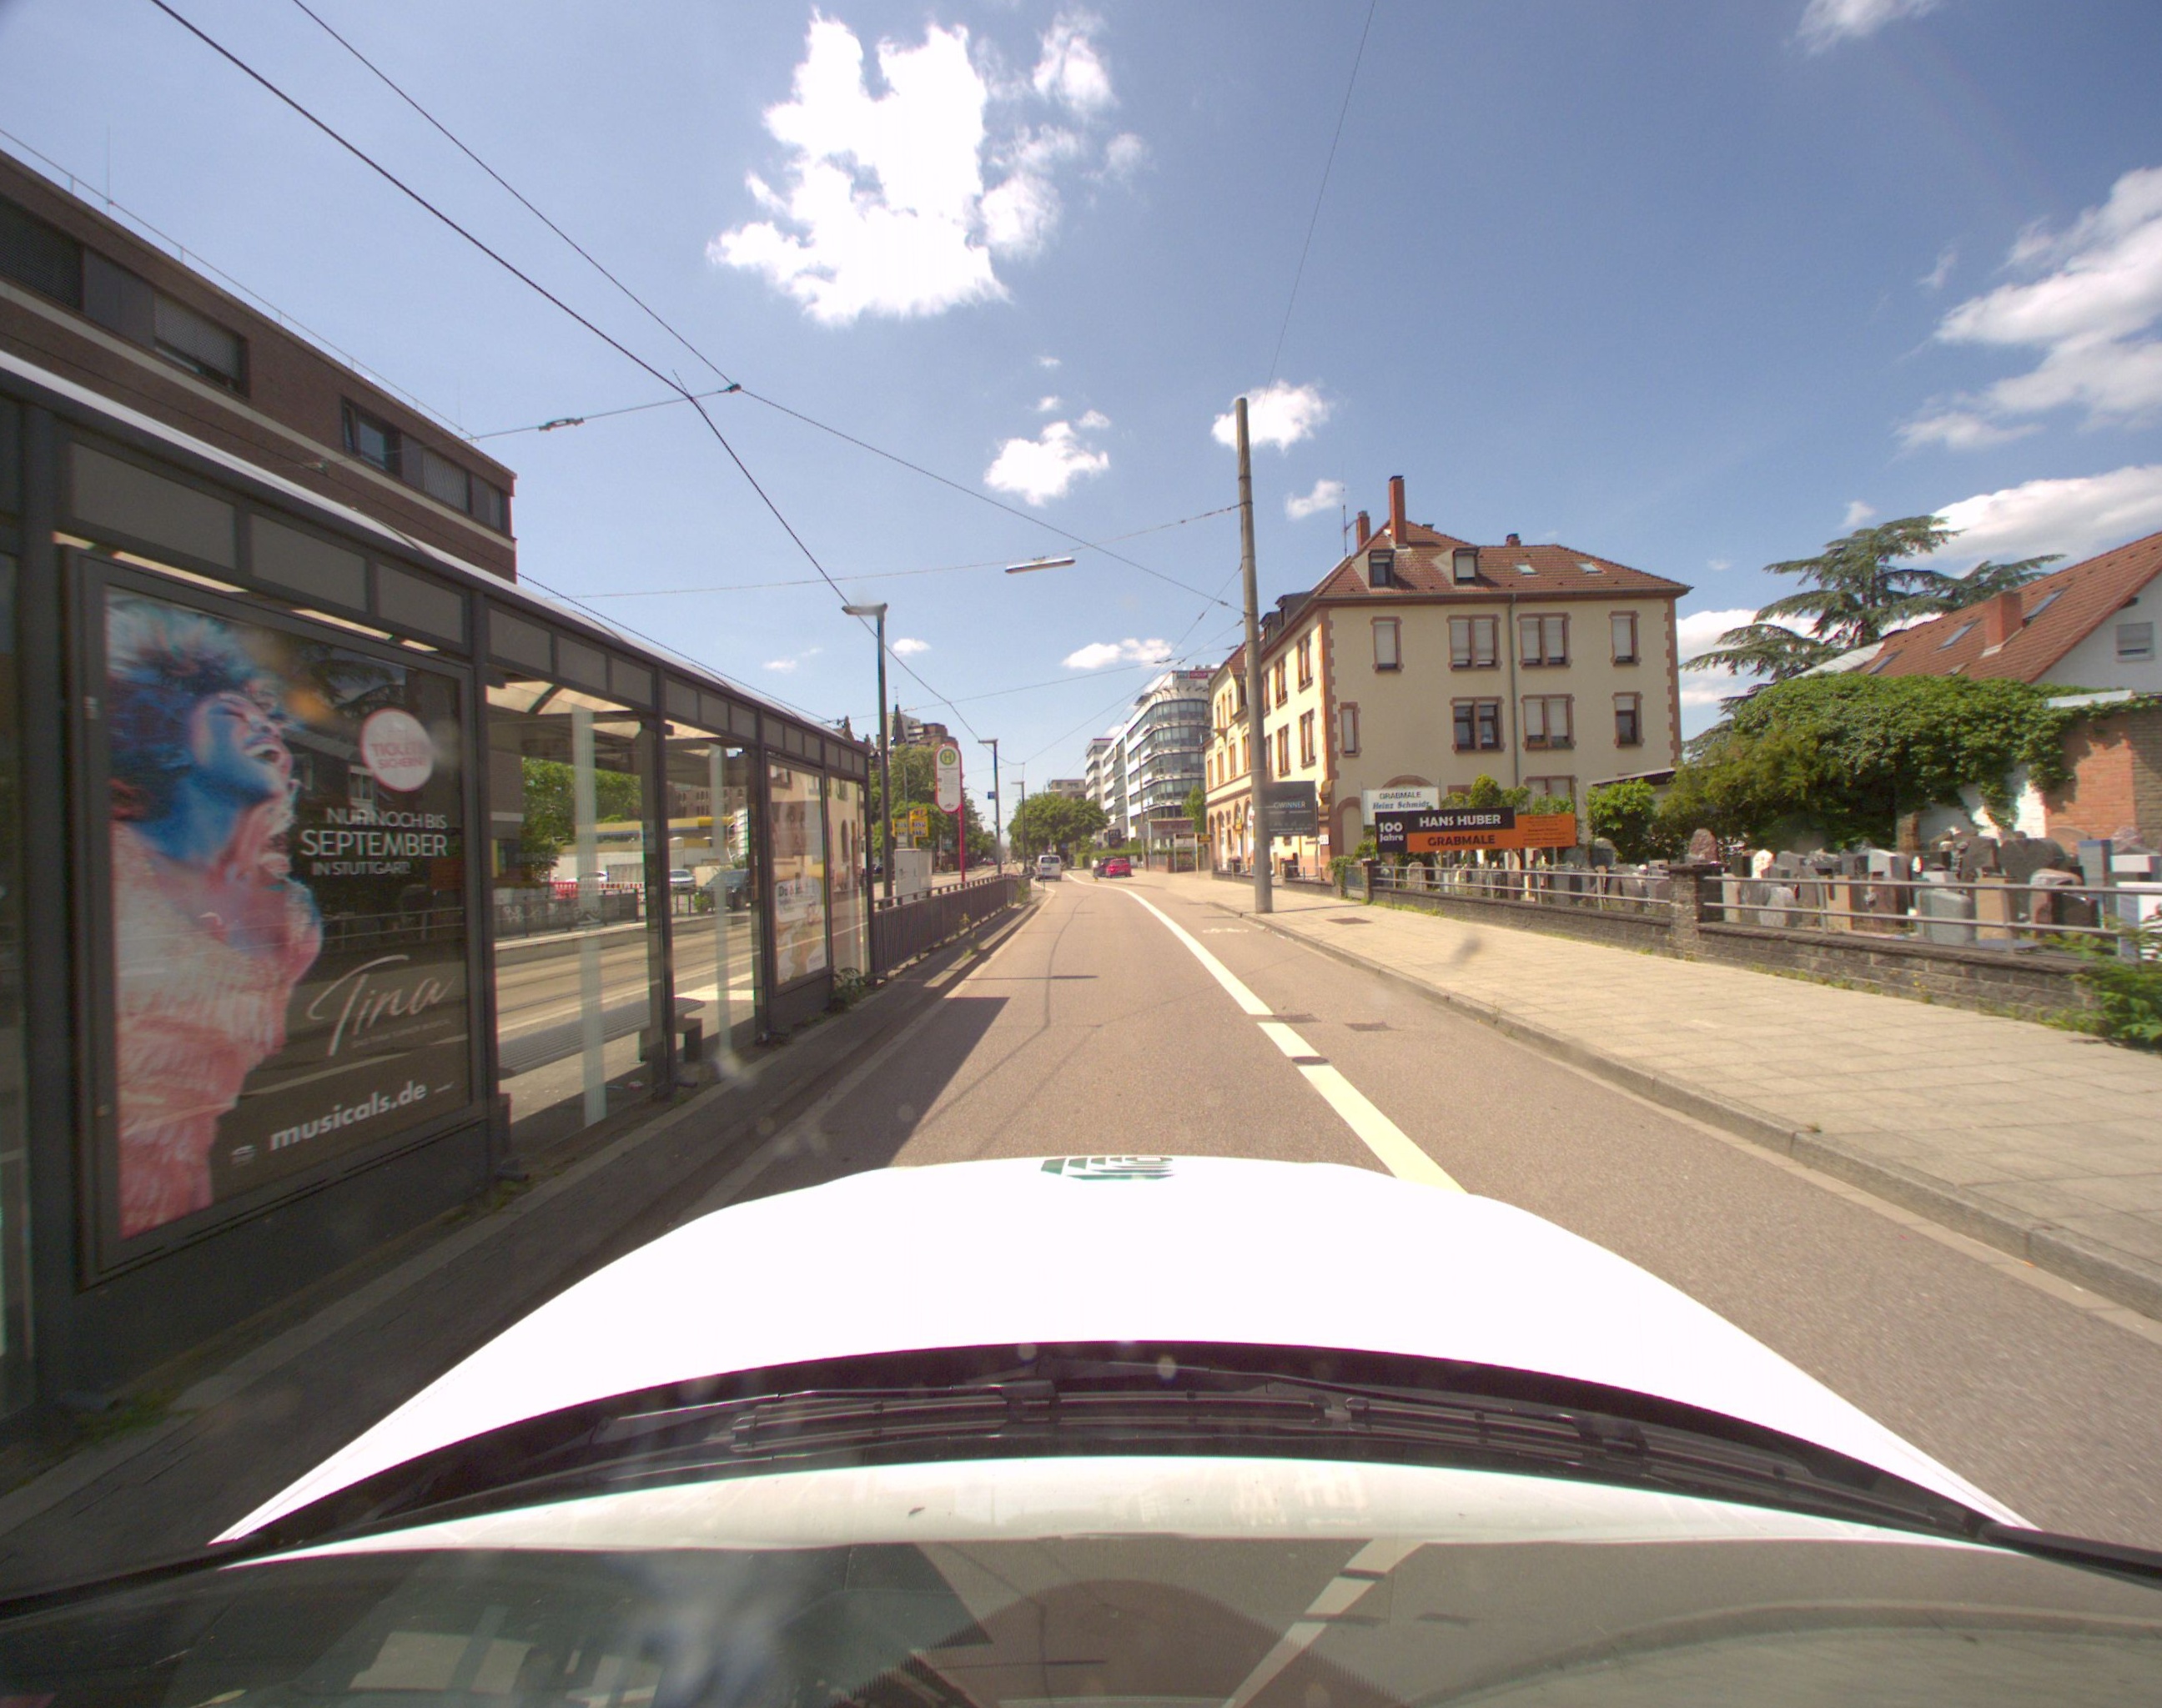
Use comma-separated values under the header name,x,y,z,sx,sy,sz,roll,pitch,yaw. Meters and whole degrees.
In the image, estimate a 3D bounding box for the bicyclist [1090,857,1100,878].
name,x,y,z,sx,sy,sz,roll,pitch,yaw
bicyclist,0.954,0.925,55.767,0.590,1.397,0.840,-2,0,-5

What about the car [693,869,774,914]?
name,x,y,z,sx,sy,sz,roll,pitch,yaw
car,-14.249,1.481,33.597,1.694,1.616,3.756,-3,0,-1

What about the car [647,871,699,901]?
name,x,y,z,sx,sy,sz,roll,pitch,yaw
car,-26.218,2.099,52.310,2.069,1.567,3.952,-4,-2,-40

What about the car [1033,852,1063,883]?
name,x,y,z,sx,sy,sz,roll,pitch,yaw
car,-2.389,0.940,58.370,1.751,2.013,3.990,-3,1,-7

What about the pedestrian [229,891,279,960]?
name,x,y,z,sx,sy,sz,roll,pitch,yaw
pedestrian,-17.469,1.494,17.213,0.433,1.384,0.536,-4,-1,2

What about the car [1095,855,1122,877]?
name,x,y,z,sx,sy,sz,roll,pitch,yaw
car,2.326,1.011,69.894,1.858,1.687,4.996,-3,0,-2

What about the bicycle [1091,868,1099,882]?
name,x,y,z,sx,sy,sz,roll,pitch,yaw
bicycle,0.971,1.446,55.804,0.464,0.887,2.047,-2,0,-1

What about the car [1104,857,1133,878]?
name,x,y,z,sx,sy,sz,roll,pitch,yaw
car,2.892,1.056,64.002,1.709,1.452,4.065,-4,0,-5

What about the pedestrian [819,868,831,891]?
name,x,y,z,sx,sy,sz,roll,pitch,yaw
pedestrian,-18.730,1.875,59.625,0.550,1.658,0.673,-2,0,2

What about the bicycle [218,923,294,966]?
name,x,y,z,sx,sy,sz,roll,pitch,yaw
bicycle,-17.419,1.896,17.221,0.291,0.761,1.188,-4,-1,3
